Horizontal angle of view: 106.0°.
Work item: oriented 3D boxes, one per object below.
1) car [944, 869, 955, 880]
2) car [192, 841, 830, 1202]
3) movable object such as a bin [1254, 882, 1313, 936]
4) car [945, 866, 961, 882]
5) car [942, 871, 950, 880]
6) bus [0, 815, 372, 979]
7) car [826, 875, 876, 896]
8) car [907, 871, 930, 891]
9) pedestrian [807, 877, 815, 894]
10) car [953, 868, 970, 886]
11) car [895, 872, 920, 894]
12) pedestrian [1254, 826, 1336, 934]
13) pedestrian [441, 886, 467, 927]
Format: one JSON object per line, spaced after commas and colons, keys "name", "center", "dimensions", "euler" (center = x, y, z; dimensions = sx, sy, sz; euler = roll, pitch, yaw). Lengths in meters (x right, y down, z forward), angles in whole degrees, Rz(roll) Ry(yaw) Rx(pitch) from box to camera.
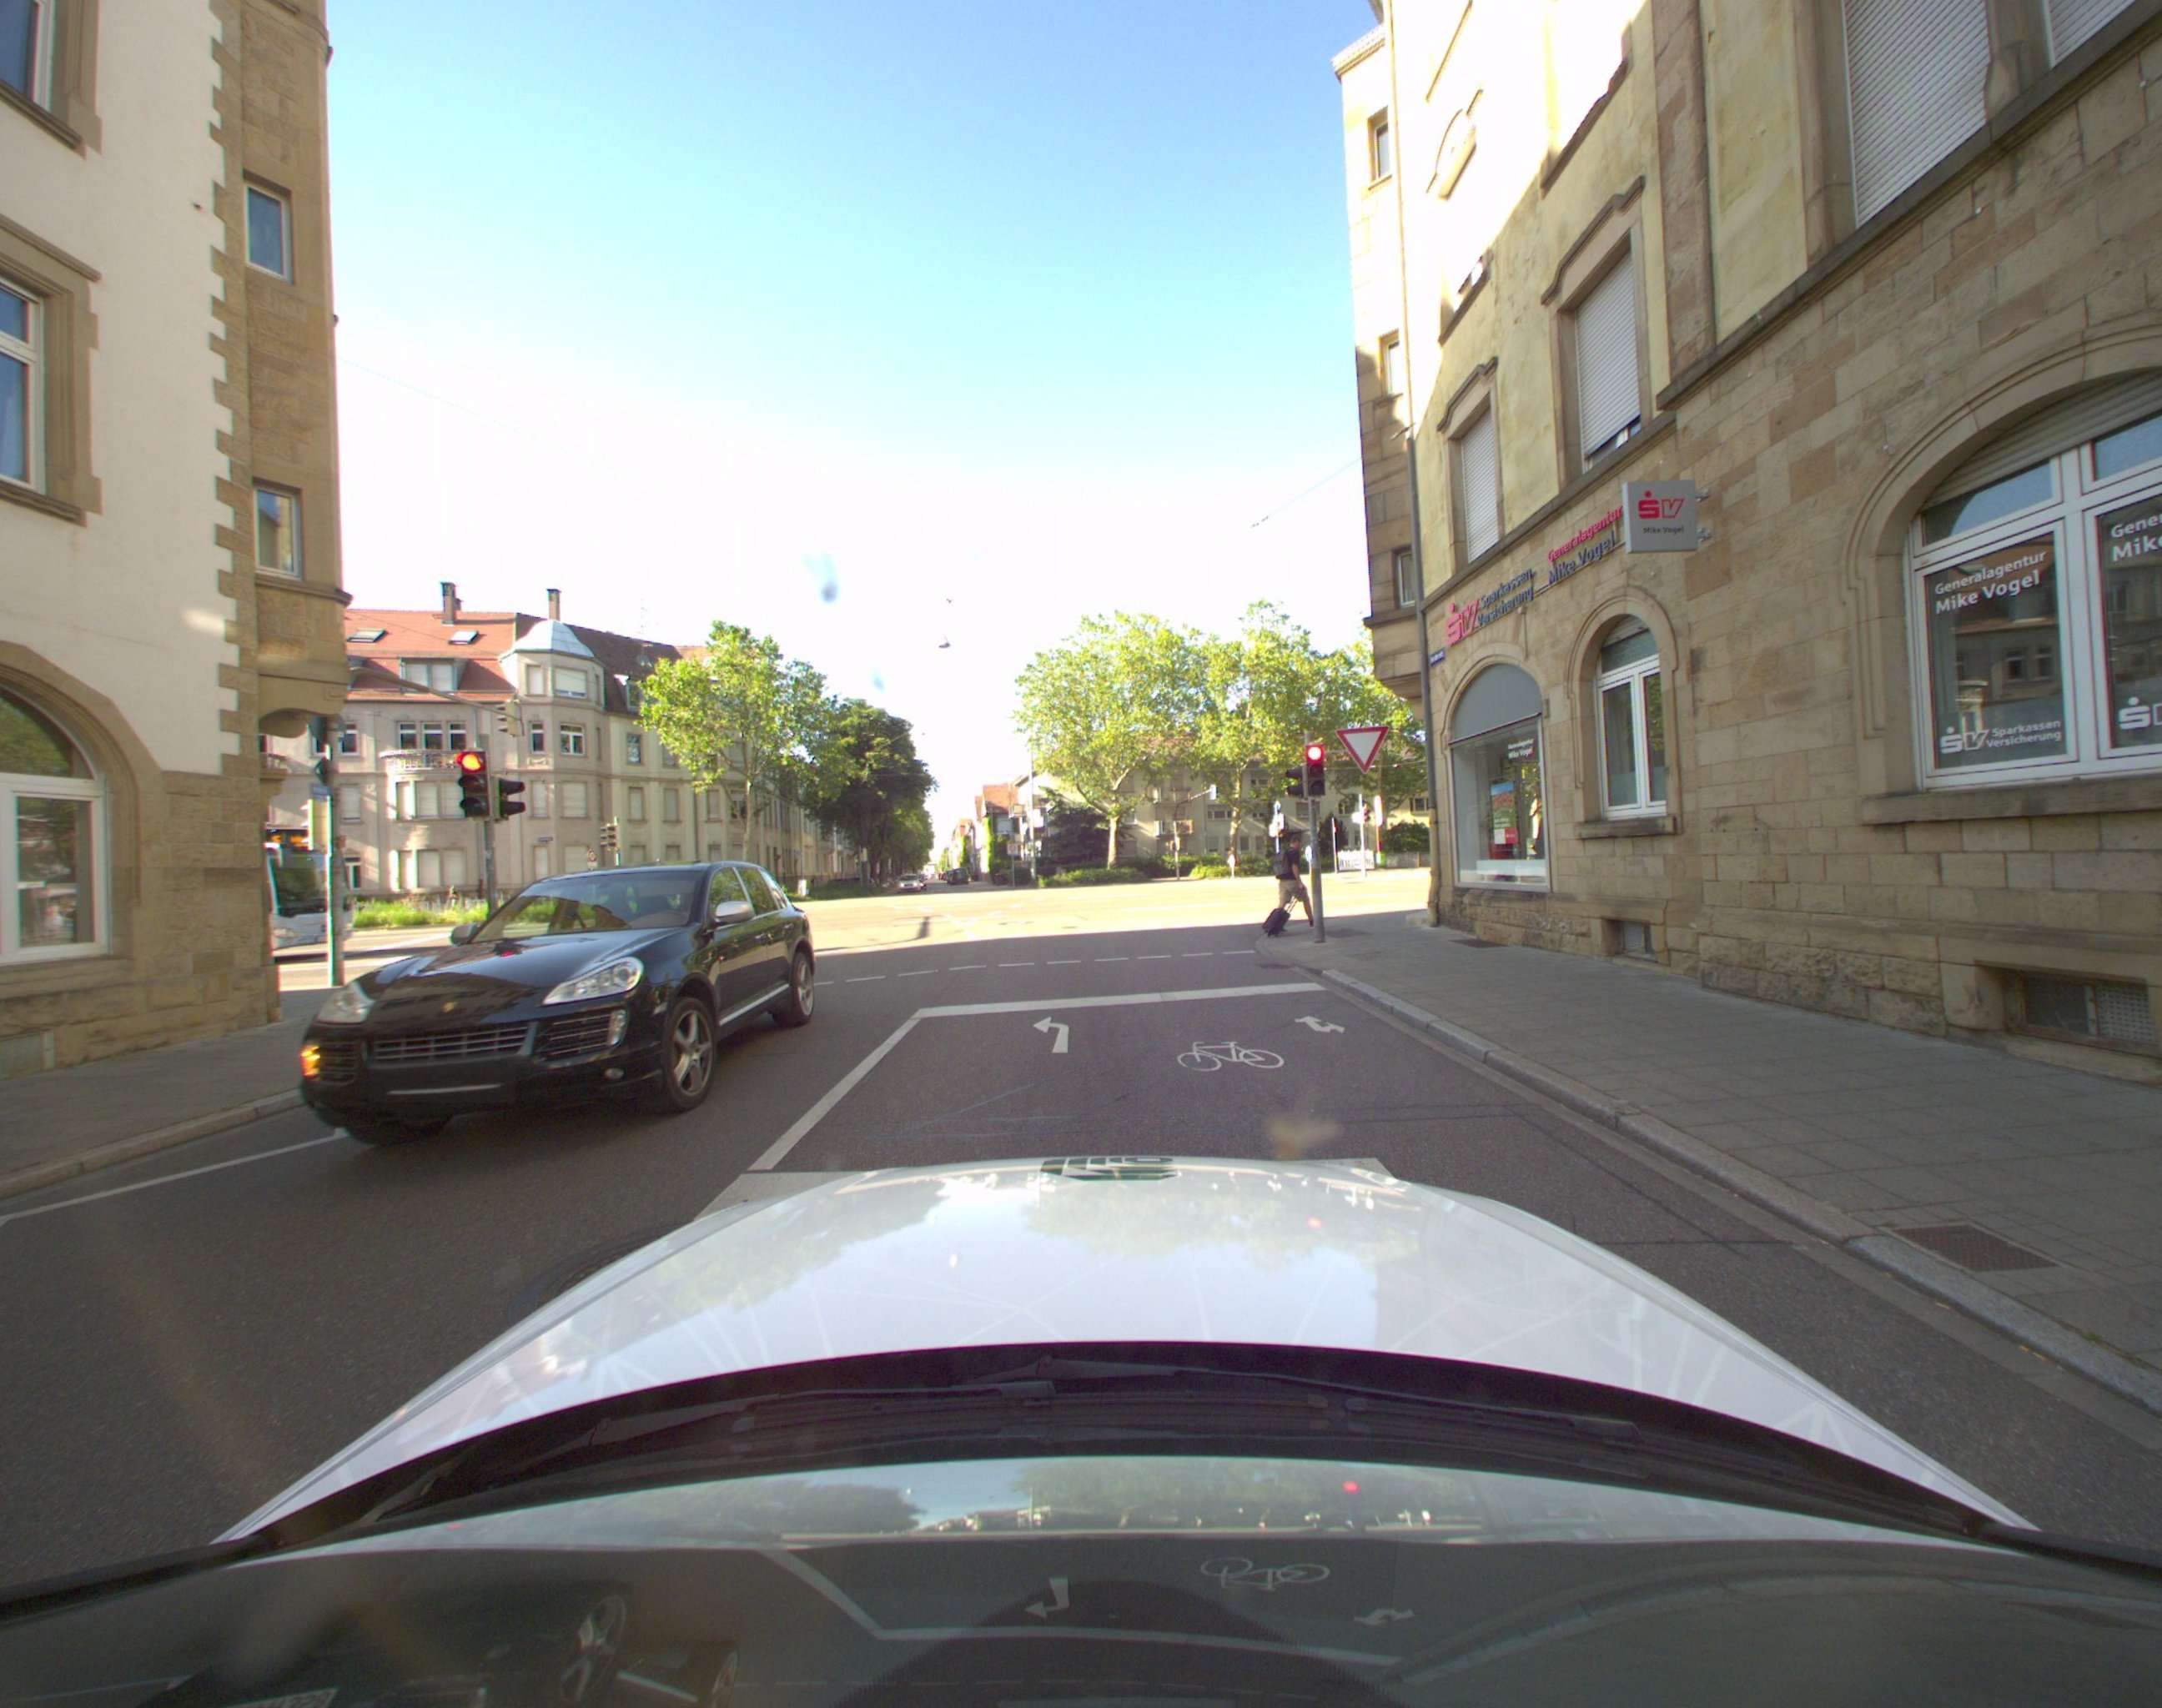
{"name": "car", "center": [-23.746, 3.701, 147.188], "dimensions": [1.773, 1.918, 3.522], "euler": [-4, 0, -10]}
{"name": "car", "center": [-3.642, 0.862, 6.576], "dimensions": [2.070, 1.693, 4.699], "euler": [-4, 0, -6]}
{"name": "movable object such as a bin", "center": [3.623, 0.975, 14.588], "dimensions": [0.862, 0.892, 0.507], "euler": [-3, 0, -11]}
{"name": "car", "center": [-16.560, 2.548, 105.207], "dimensions": [1.773, 1.918, 3.522], "euler": [-4, 0, -10]}
{"name": "car", "center": [-30.121, 4.807, 181.731], "dimensions": [1.773, 1.918, 3.522], "euler": [-4, 0, -10]}
{"name": "bus", "center": [-21.659, 0.923, 17.358], "dimensions": [9.628, 3.096, 2.734], "euler": [-2, 0, -12]}
{"name": "car", "center": [-17.947, 2.471, 63.718], "dimensions": [3.636, 1.457, 1.650], "euler": [-2, 0, -14]}
{"name": "car", "center": [-13.958, 2.323, 69.994], "dimensions": [1.698, 1.483, 3.522], "euler": [-4, 0, -10]}
{"name": "pedestrian", "center": [-22.311, 2.602, 67.303], "dimensions": [0.489, 1.442, 0.702], "euler": [0, -1, -13]}
{"name": "car", "center": [-13.949, 2.697, 95.017], "dimensions": [1.773, 1.918, 3.522], "euler": [-4, 0, -10]}
{"name": "car", "center": [-13.590, 2.267, 63.821], "dimensions": [1.698, 1.483, 3.522], "euler": [-4, 0, -10]}
{"name": "pedestrian", "center": [3.971, 0.475, 15.155], "dimensions": [1.068, 1.848, 0.745], "euler": [-6, 0, -15]}
{"name": "pedestrian", "center": [-32.296, 2.688, 41.951], "dimensions": [0.836, 2.014, 0.749], "euler": [0, -1, -15]}
